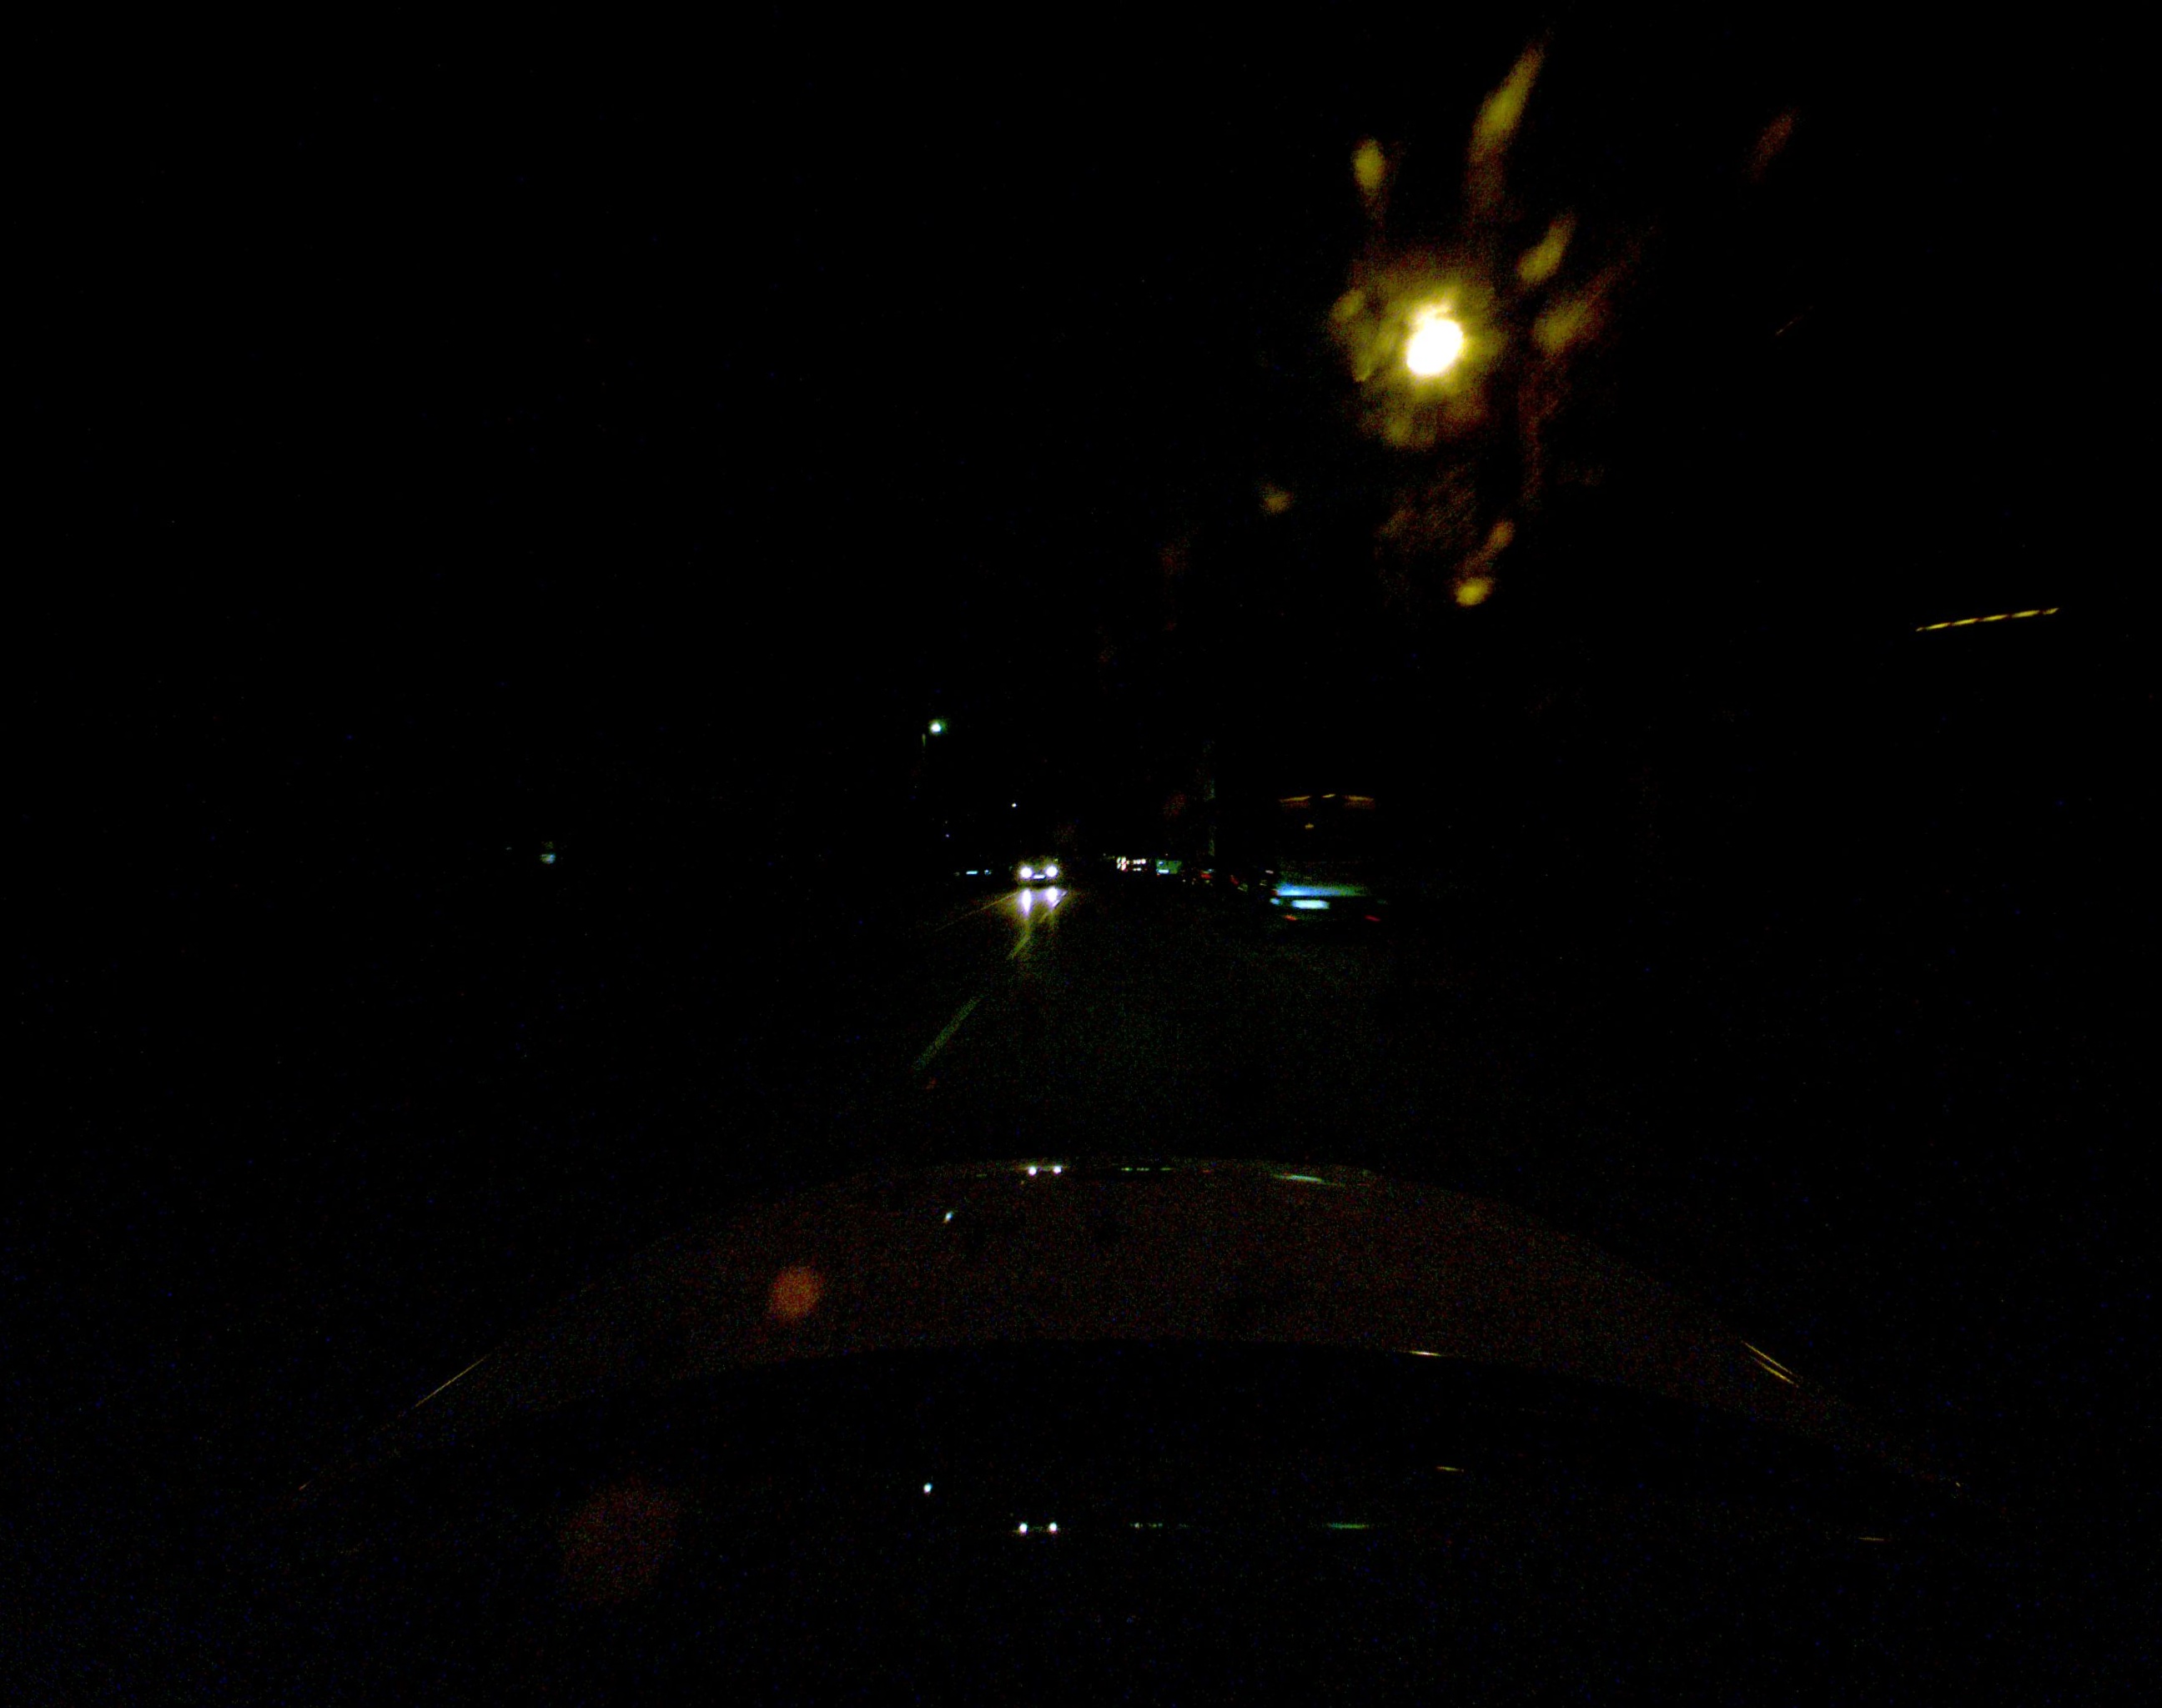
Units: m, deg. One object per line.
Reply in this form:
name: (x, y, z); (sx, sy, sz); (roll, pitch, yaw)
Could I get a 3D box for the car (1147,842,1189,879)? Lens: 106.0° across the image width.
car: (5.080, 0.370, 48.269); (1.986, 2.013, 4.913); (-2, 0, 1)

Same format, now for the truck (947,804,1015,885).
truck: (-5.461, -0.494, 46.094); (2.738, 4.034, 9.556); (-1, 0, -1)

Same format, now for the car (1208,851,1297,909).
car: (4.696, 0.652, 22.893); (1.762, 1.412, 4.554); (-1, 0, 4)

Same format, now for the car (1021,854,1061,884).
car: (-2.051, 0.754, 42.692); (1.851, 1.420, 4.000); (-1, 0, 0)

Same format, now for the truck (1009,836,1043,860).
truck: (-9.366, -0.934, 137.463); (2.765, 3.783, 10.155); (-2, 0, -20)

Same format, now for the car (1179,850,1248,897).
car: (4.641, 0.623, 29.196); (1.938, 1.489, 5.015); (-1, 0, 4)

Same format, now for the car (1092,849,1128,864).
car: (3.954, 0.336, 110.855); (4.342, 1.646, 1.879); (-4, 1, -21)

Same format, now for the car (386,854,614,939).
car: (-12.421, 0.835, 17.452); (4.095, 1.432, 1.906); (3, 1, 19)

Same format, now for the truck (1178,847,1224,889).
truck: (5.001, 0.570, 34.317); (1.366, 1.644, 3.812); (-2, 0, 0)

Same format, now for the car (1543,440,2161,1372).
car: (4.047, 0.157, 2.173); (2.122, 2.571, 5.905); (1, 0, -2)

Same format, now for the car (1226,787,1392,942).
car: (4.293, 0.153, 16.408); (1.985, 2.525, 5.915); (1, 0, 4)

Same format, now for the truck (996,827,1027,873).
truck: (-6.852, -0.363, 79.381); (2.769, 4.120, 9.321); (-2, 0, -6)

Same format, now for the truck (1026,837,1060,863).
truck: (-6.081, -0.544, 127.910); (2.764, 3.783, 9.076); (-2, 0, -20)

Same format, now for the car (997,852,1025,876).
car: (-5.523, 0.756, 64.646); (1.939, 1.717, 5.192); (-2, 0, -3)
